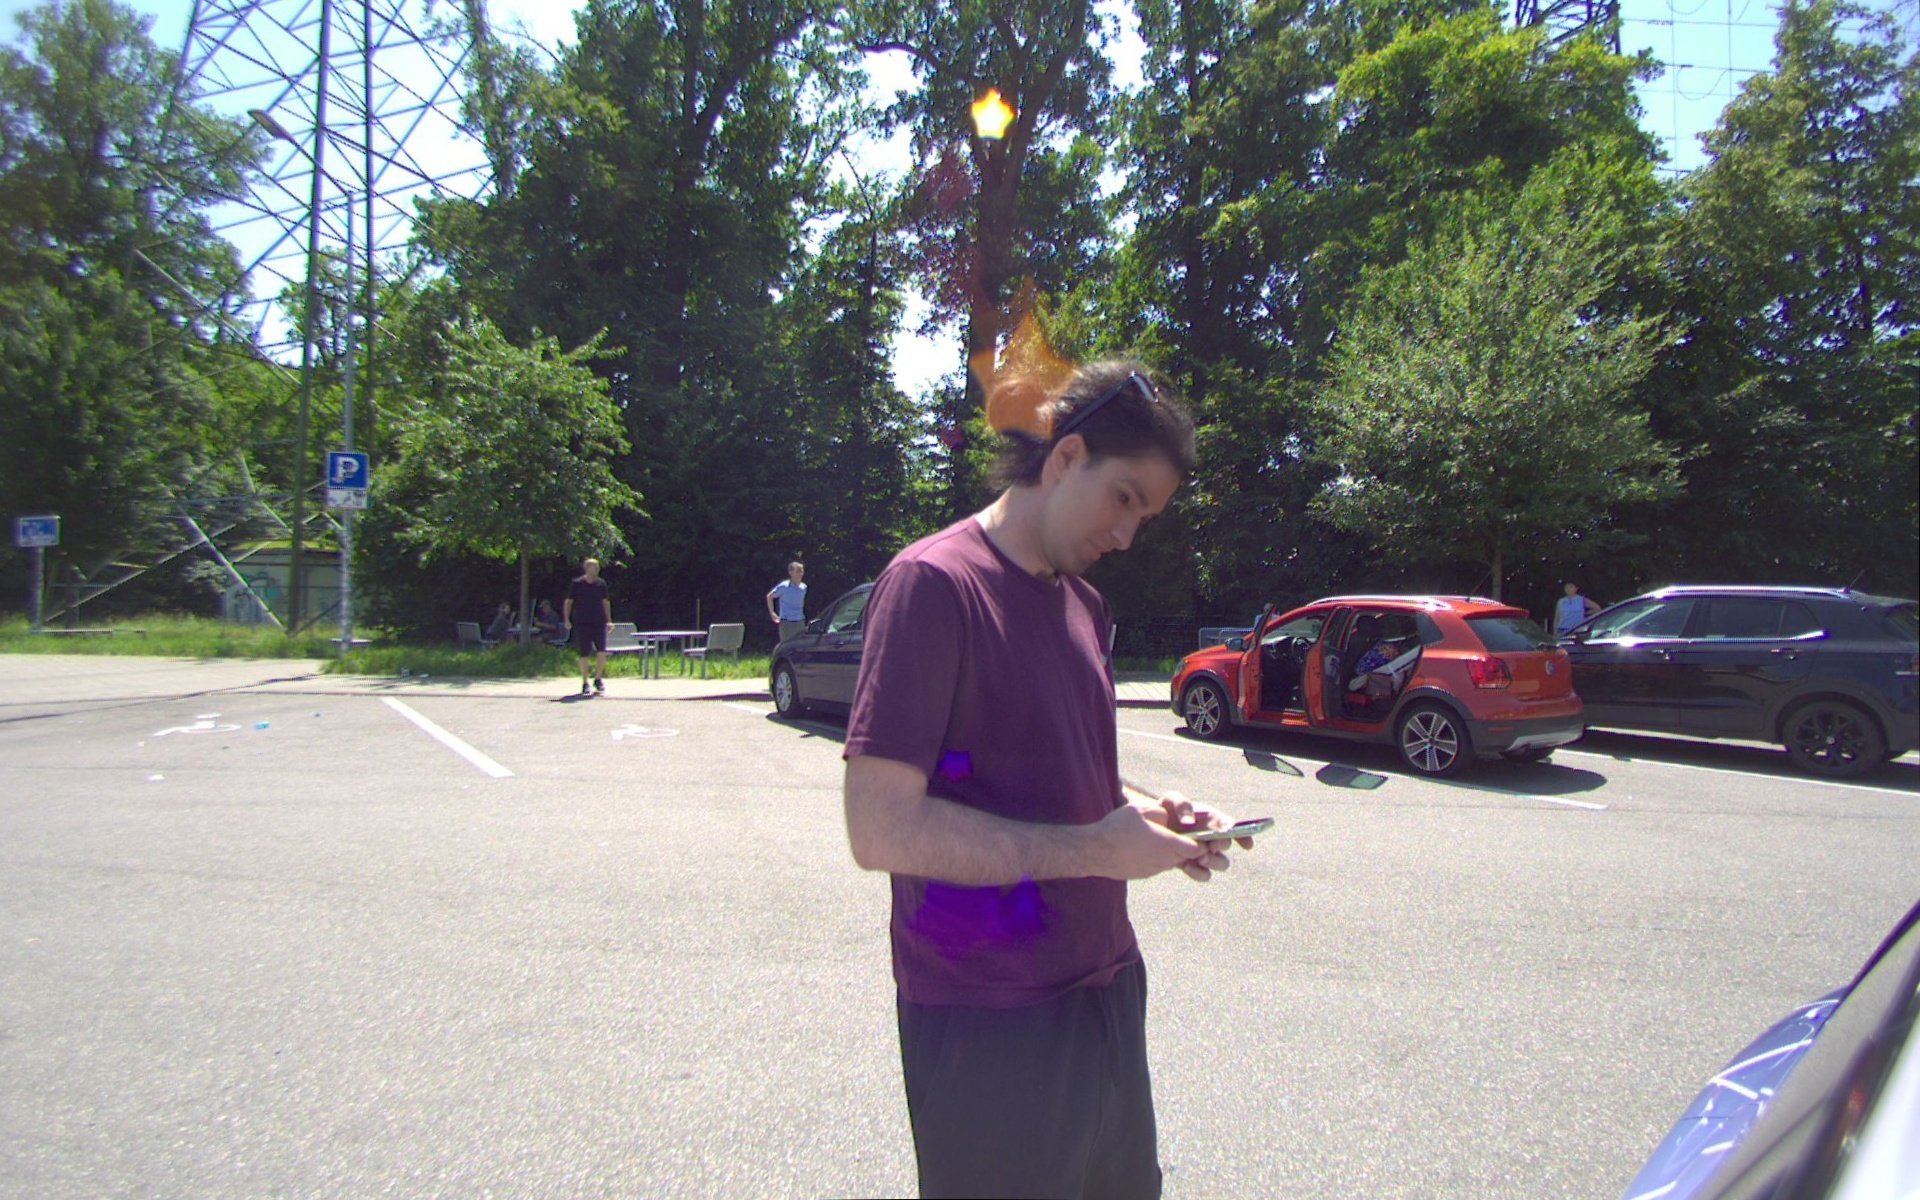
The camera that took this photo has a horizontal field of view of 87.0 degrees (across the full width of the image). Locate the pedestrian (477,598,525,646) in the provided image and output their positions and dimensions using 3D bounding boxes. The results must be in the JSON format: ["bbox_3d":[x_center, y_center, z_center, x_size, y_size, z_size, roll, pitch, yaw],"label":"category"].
[{"bbox_3d":[-10.357,0.488,22.819,0.796,1.062,0.714,1,-1,-43],"label":"pedestrian"}]

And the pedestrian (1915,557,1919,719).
[{"bbox_3d":[11.446,0.445,11.455,0.672,1.889,0.710,0,-1,19],"label":"pedestrian"}]

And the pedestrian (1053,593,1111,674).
[{"bbox_3d":[2.028,0.544,16.846,0.656,1.311,0.832,1,-1,-17],"label":"pedestrian"}]

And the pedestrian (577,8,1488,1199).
[{"bbox_3d":[0.115,0.458,1.371,0.828,1.797,0.926,0,-1,45],"label":"pedestrian"}]

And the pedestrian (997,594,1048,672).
[{"bbox_3d":[1.048,0.542,17.102,0.656,1.285,0.655,1,-1,-17],"label":"pedestrian"}]

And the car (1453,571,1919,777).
[{"bbox_3d":[7.211,0.578,9.843,1.807,1.612,3.967,1,0,-38],"label":"car"}]

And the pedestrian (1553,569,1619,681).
[{"bbox_3d":[9.362,0.357,15.122,0.712,1.614,0.797,0,-1,42],"label":"pedestrian"}]

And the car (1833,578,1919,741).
[{"bbox_3d":[10.932,0.602,9.391,1.745,1.612,3.972,1,0,-32],"label":"car"}]

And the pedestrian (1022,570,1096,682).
[{"bbox_3d":[1.463,0.374,15.038,0.793,1.614,0.776,1,-1,-28],"label":"pedestrian"}]

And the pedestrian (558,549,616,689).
[{"bbox_3d":[-5.140,0.255,13.934,0.700,1.851,0.906,1,-1,-22],"label":"pedestrian"}]

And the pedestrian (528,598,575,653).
[{"bbox_3d":[-9.543,0.592,23.646,0.796,1.253,0.713,1,-1,-44],"label":"pedestrian"}]

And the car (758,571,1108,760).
[{"bbox_3d":[-0.481,0.546,10.704,1.809,1.588,4.017,1,0,-35],"label":"car"}]

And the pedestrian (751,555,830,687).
[{"bbox_3d":[-2.392,0.289,14.270,0.786,1.784,0.809,1,-1,-39],"label":"pedestrian"}]

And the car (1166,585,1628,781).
[{"bbox_3d":[3.929,0.623,9.656,1.746,1.475,3.710,1,0,-33],"label":"car"}]
